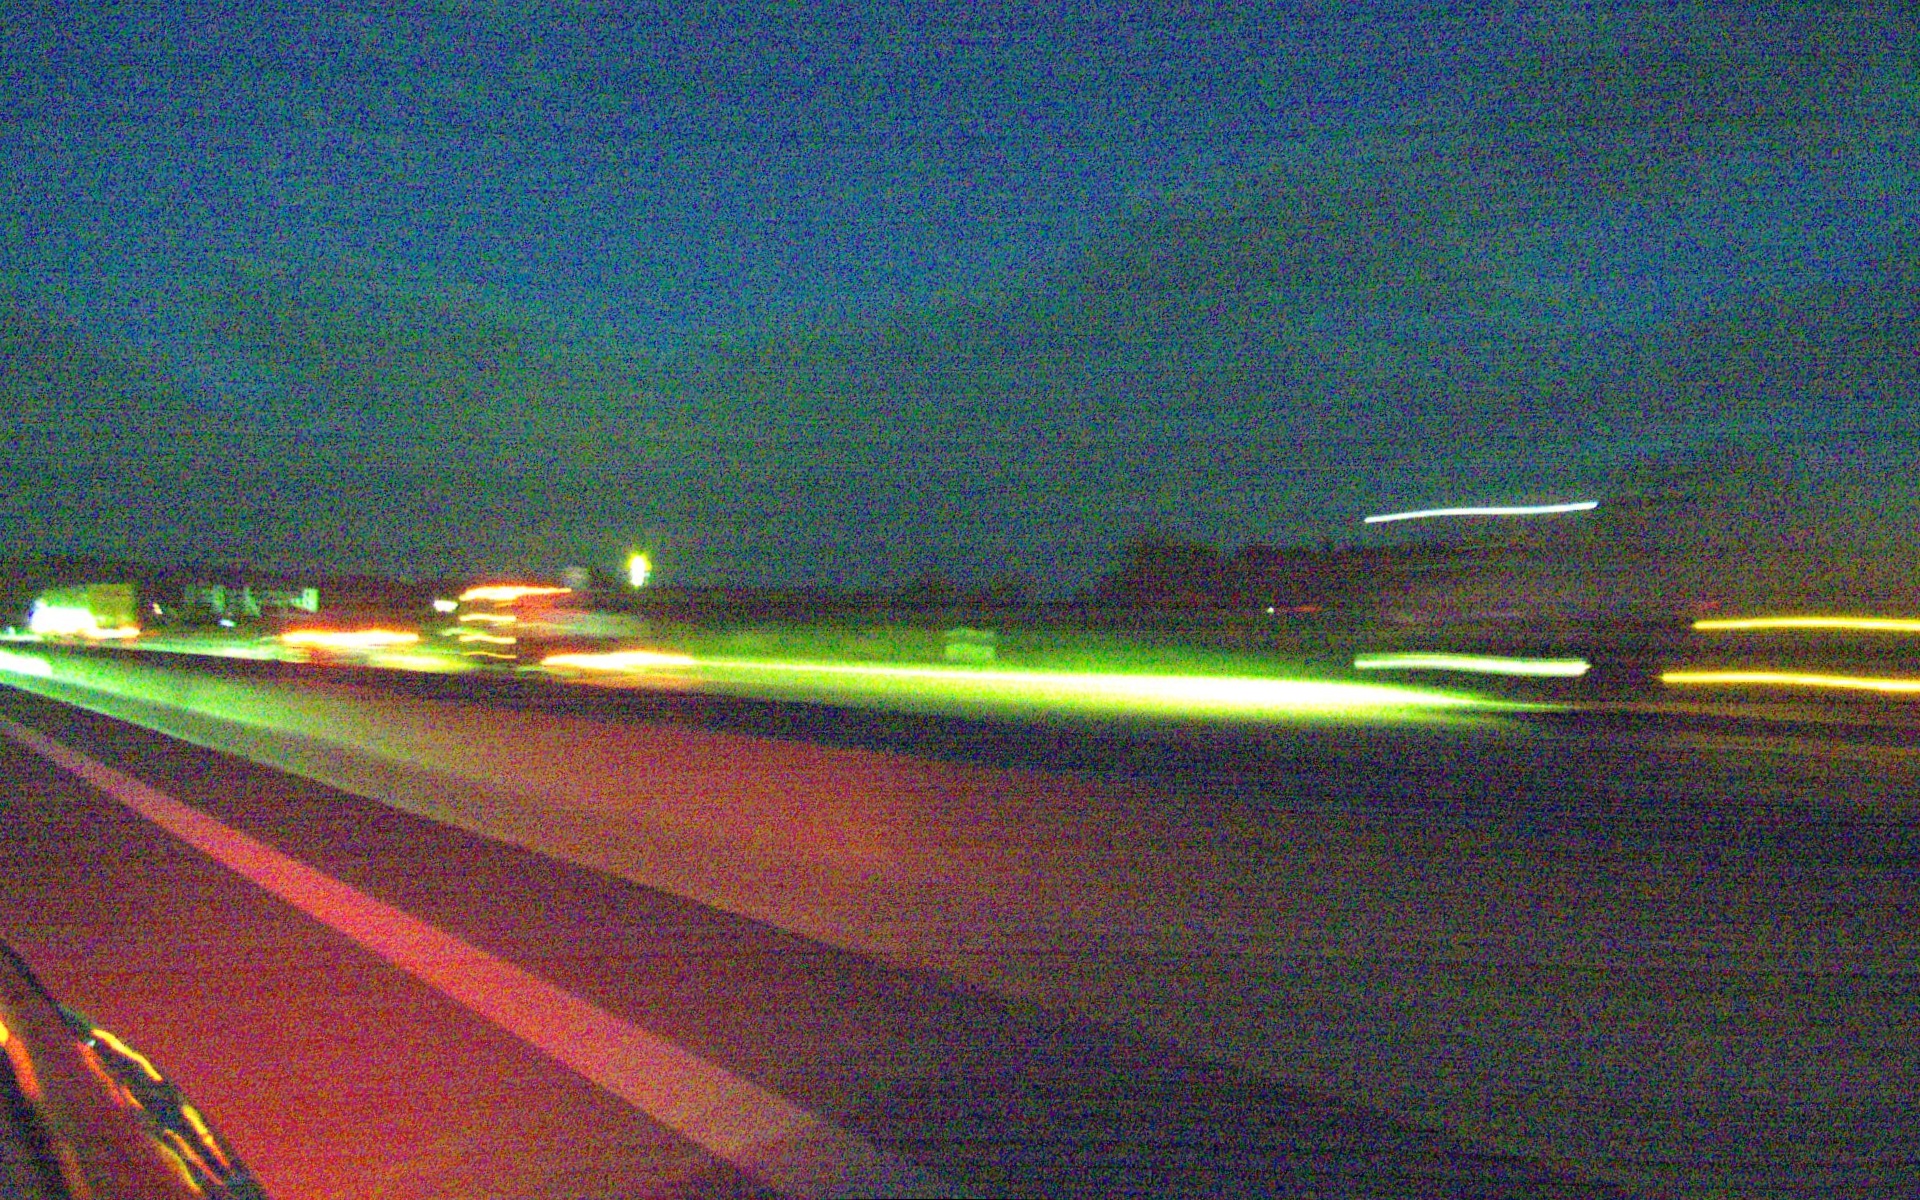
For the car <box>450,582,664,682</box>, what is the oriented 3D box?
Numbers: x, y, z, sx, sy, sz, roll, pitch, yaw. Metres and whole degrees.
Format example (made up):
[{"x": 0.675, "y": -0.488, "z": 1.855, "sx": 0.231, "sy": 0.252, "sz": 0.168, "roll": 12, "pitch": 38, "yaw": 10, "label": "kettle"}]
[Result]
[{"x": -10.287, "y": 0.773, "z": 25.448, "sx": 6.962, "sy": 2.214, "sz": 2.031, "roll": -1, "pitch": -1, "yaw": 41, "label": "car"}]

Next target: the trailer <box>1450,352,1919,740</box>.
[{"x": 13.195, "y": -0.612, "z": 9.908, "sx": 14.756, "sy": 4.037, "sz": 3.400, "roll": -1, "pitch": 0, "yaw": 42, "label": "trailer"}]

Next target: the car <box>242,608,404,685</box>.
[{"x": -15.209, "y": 1.043, "z": 24.063, "sx": 4.694, "sy": 1.635, "sz": 2.044, "roll": -1, "pitch": -1, "yaw": 42, "label": "car"}]

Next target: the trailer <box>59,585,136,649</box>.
[{"x": -64.053, "y": 1.269, "z": 75.089, "sx": 8.595, "sy": 4.472, "sz": 3.019, "roll": -2, "pitch": -1, "yaw": 40, "label": "trailer"}]

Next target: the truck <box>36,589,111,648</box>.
[{"x": -71.276, "y": 1.474, "z": 81.274, "sx": 10.416, "sy": 4.472, "sz": 3.019, "roll": -2, "pitch": -1, "yaw": 40, "label": "truck"}]

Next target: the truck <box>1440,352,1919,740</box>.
[{"x": 10.149, "y": -0.558, "z": 12.675, "sx": 6.773, "sy": 4.037, "sz": 3.400, "roll": -1, "pitch": 0, "yaw": 42, "label": "truck"}]
